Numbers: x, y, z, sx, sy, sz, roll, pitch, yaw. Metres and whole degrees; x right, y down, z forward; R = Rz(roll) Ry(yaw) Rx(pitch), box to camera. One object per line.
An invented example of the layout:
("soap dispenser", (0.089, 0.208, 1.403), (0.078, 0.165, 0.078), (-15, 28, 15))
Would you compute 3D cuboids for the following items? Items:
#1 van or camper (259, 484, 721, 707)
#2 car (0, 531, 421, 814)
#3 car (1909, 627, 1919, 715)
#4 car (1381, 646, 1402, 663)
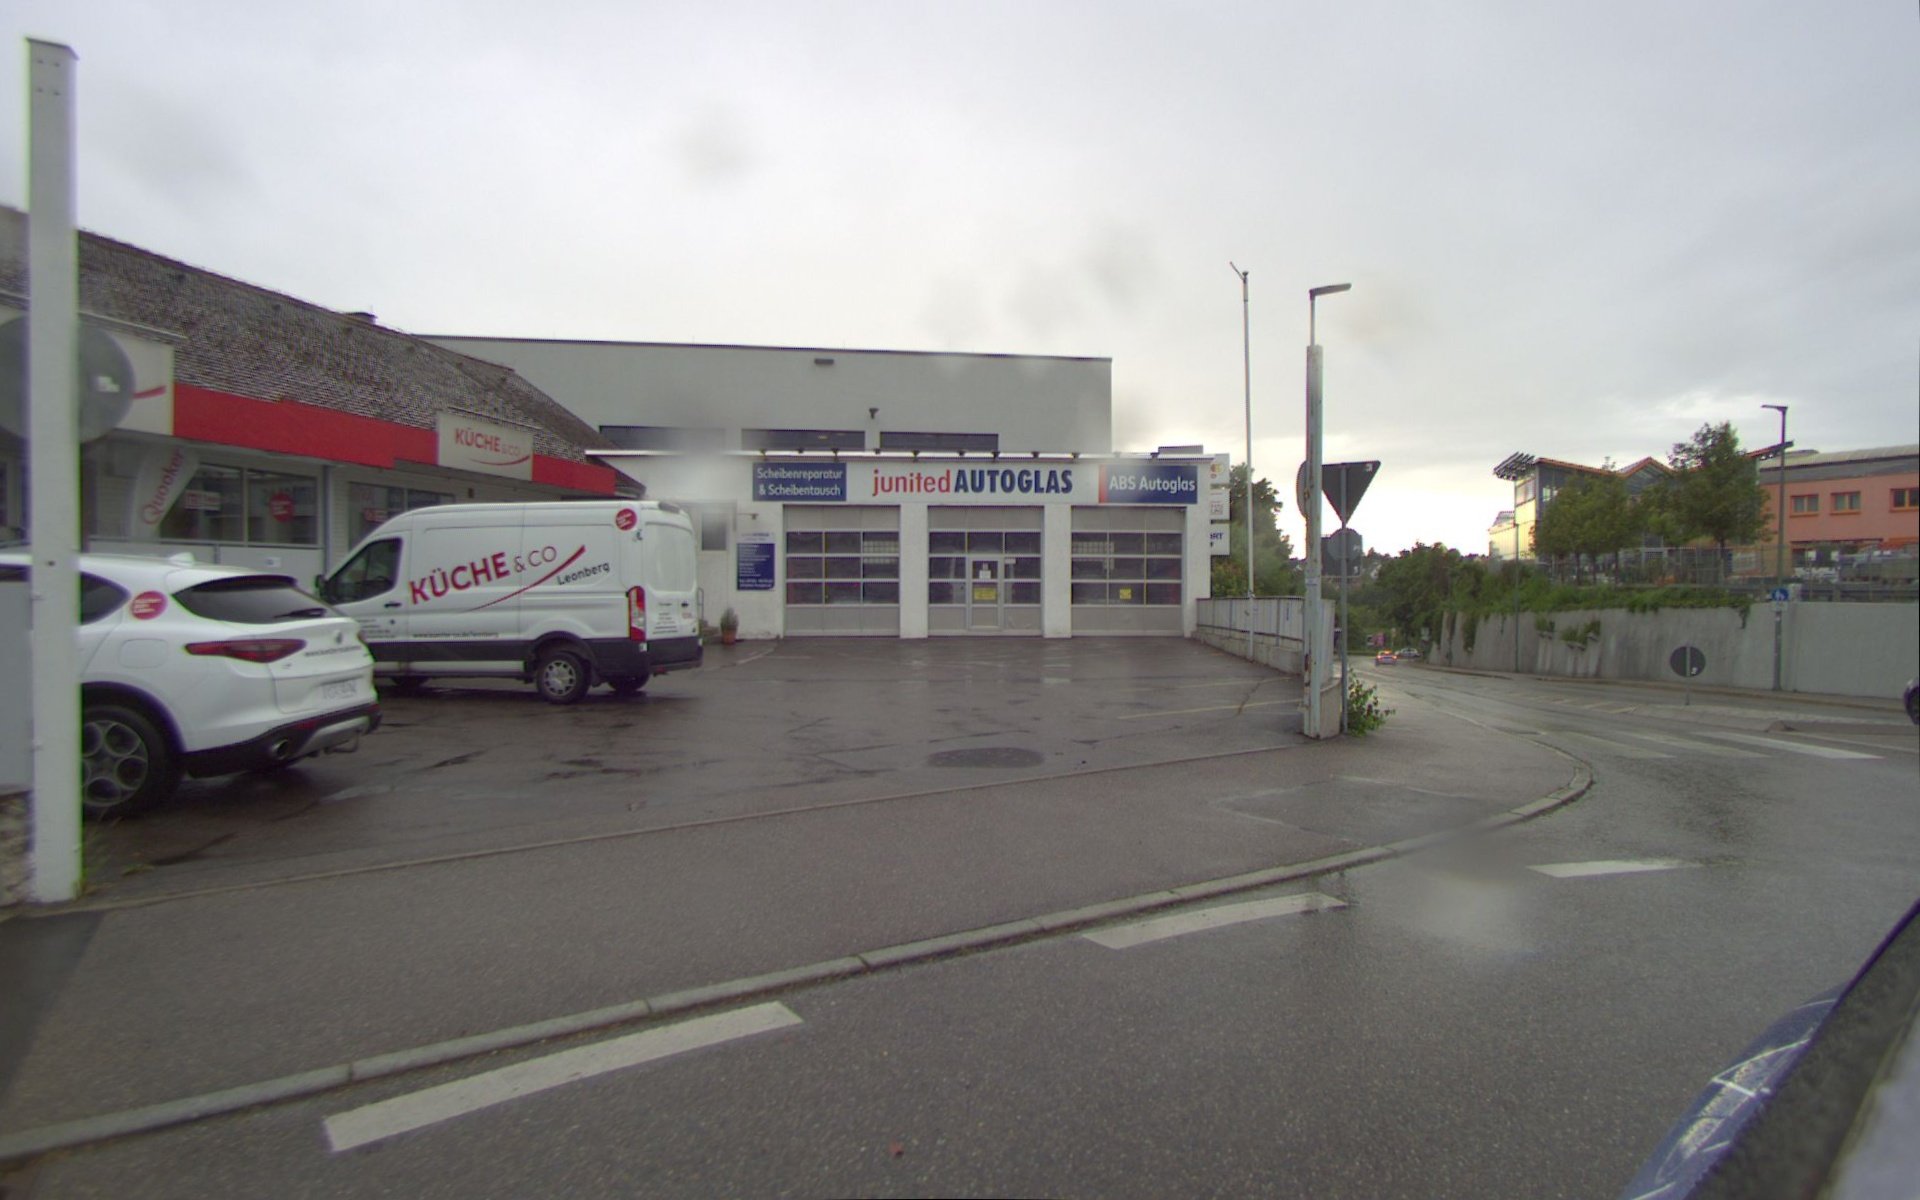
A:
("van or camper", (-6.000, -0.111, 13.239), (5.176, 2.572, 2.125), (1, 0, 9))
("car", (-6.279, 0.415, 7.010), (4.087, 1.712, 1.849), (1, 1, -5))
("car", (15.827, 1.131, 13.532), (1.968, 1.400, 5.326), (0, 0, 10))
("car", (40.831, 5.138, 95.782), (1.789, 1.483, 3.969), (0, -2, 22))
